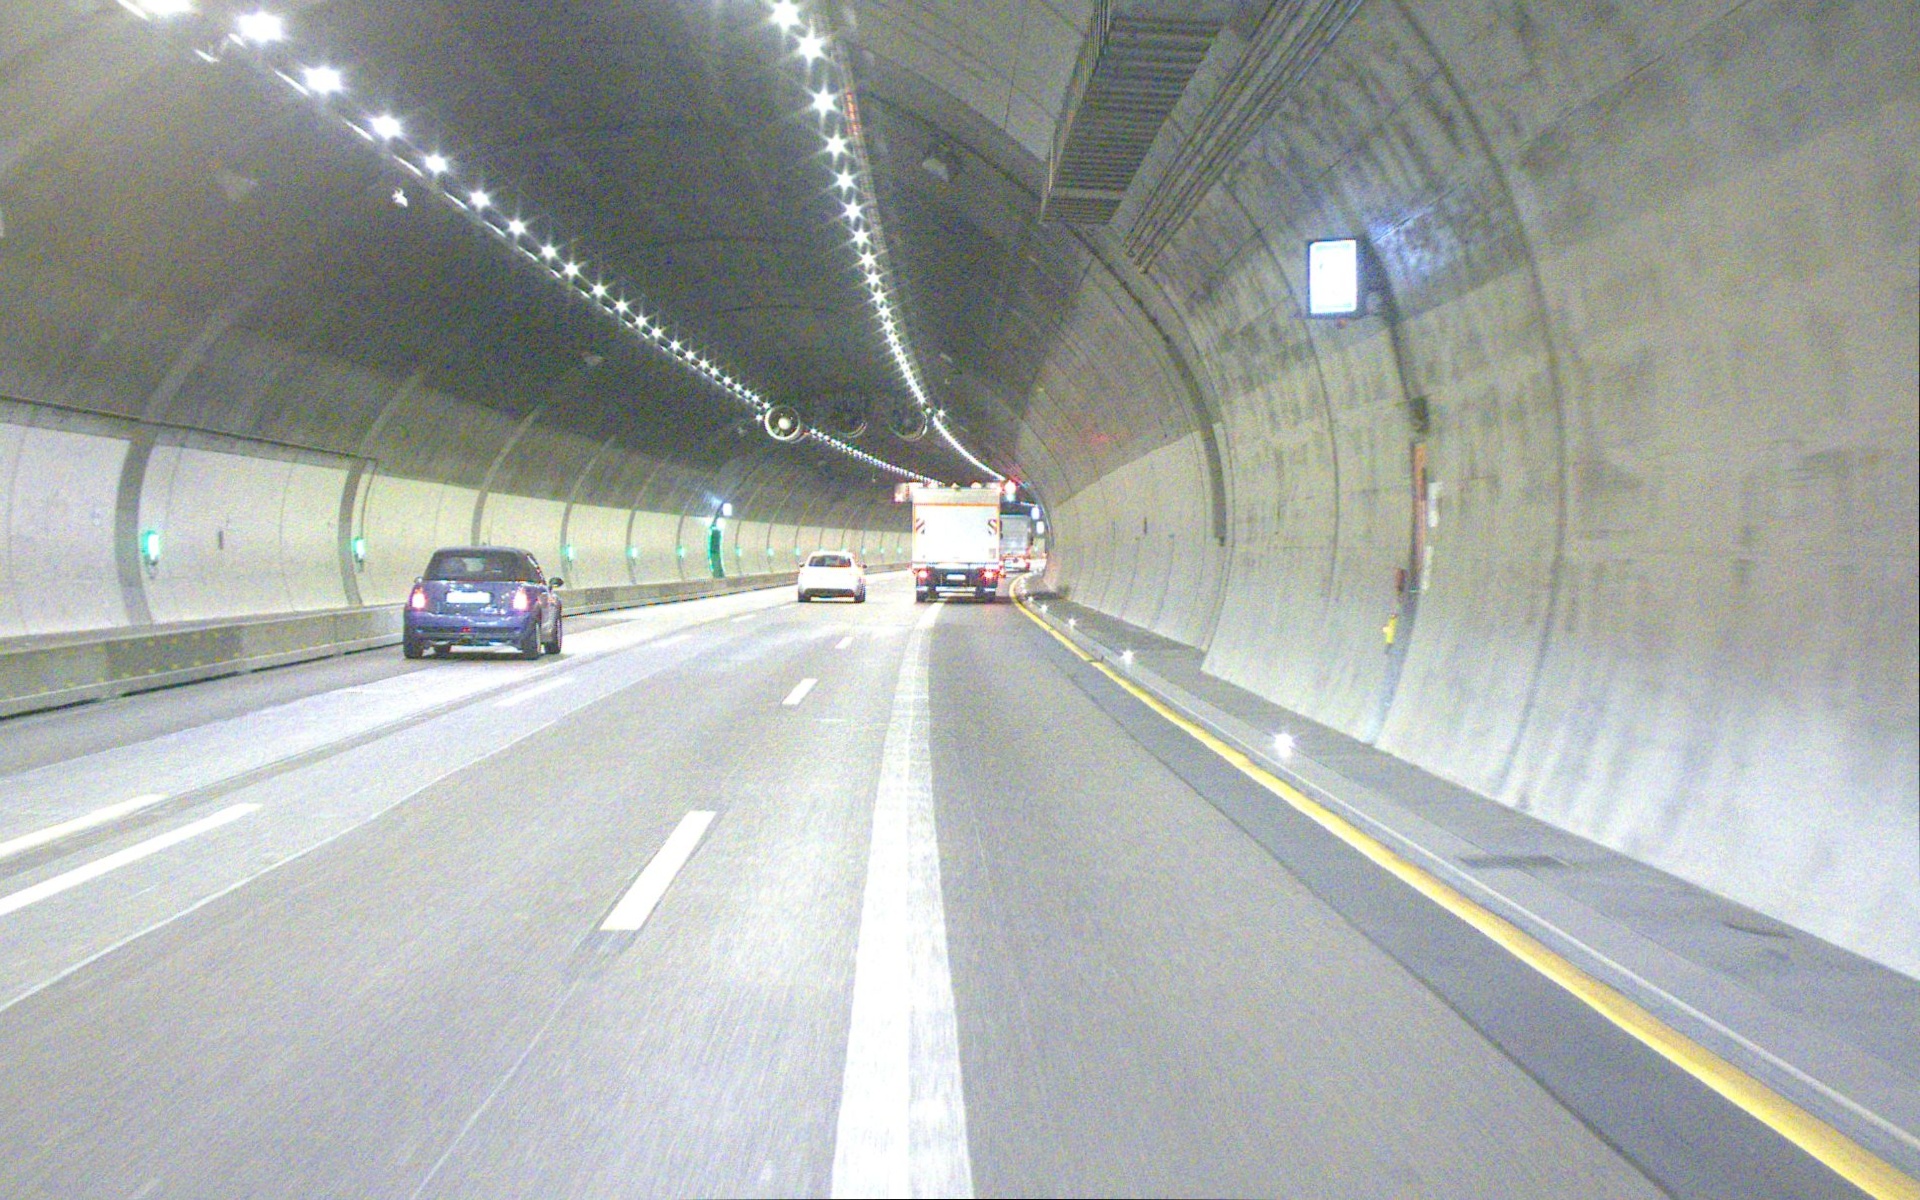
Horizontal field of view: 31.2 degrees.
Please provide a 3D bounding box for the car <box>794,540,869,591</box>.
[{"bbox_3d":[-3.671,-1.012,98.945,1.993,1.408,4.743,0,1,0],"label":"car"}]

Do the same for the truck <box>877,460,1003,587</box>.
[{"bbox_3d":[-0.563,-2.302,104.463,3.592,3.638,10.723,0,1,0],"label":"truck"}]

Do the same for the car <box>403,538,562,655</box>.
[{"bbox_3d":[-6.070,-0.074,44.015,1.689,1.412,3.923,0,1,-3],"label":"car"}]
